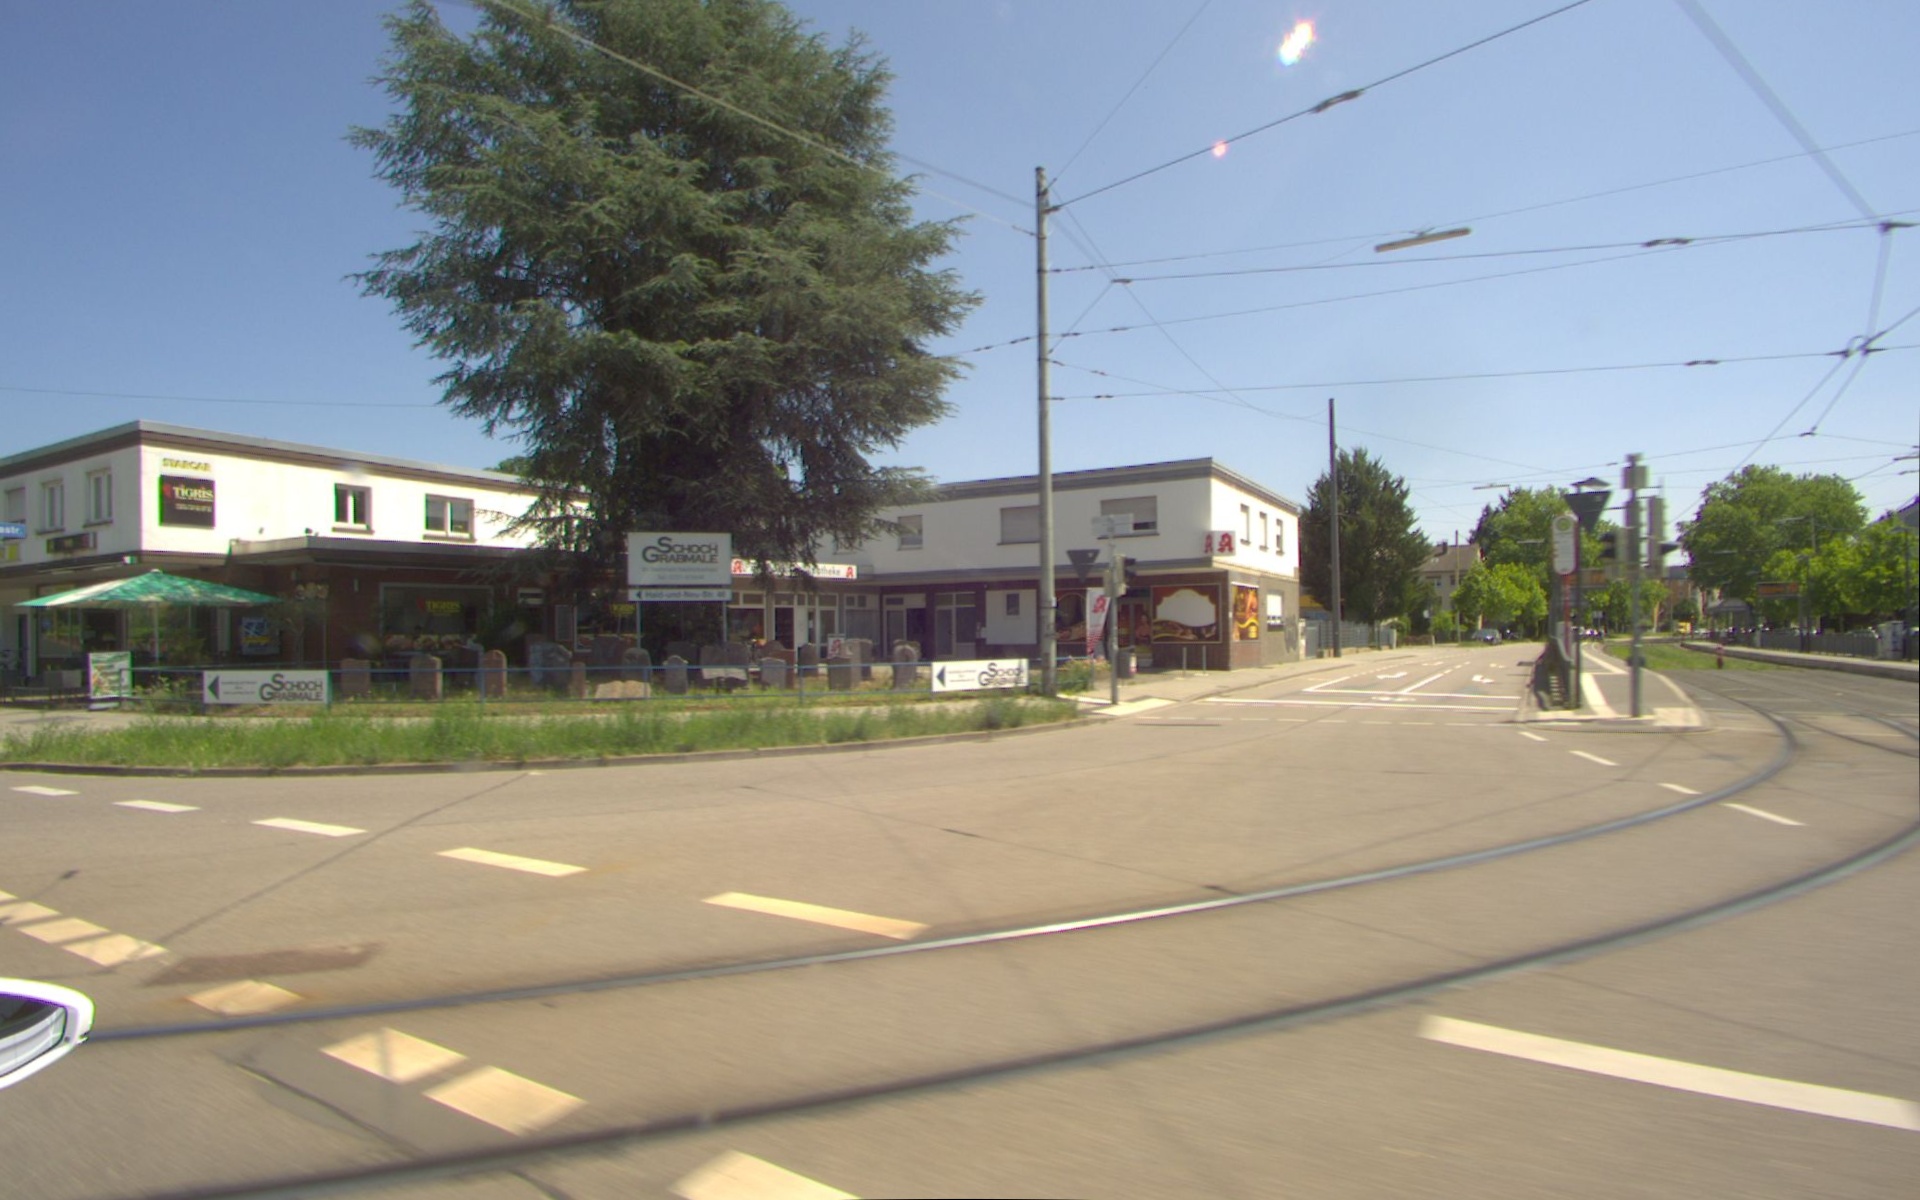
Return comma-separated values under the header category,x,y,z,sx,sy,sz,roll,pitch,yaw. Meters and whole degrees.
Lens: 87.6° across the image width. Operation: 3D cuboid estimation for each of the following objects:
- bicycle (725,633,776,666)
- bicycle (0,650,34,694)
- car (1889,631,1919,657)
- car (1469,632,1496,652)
category,x,y,z,sx,sy,sz,roll,pitch,yaw
bicycle,-7.702,1.832,36.841,0.592,1.206,1.862,-3,-4,42
bicycle,-27.305,2.025,28.523,2.605,1.178,0.985,-2,-2,38
car,50.543,2.307,52.928,1.431,1.371,3.347,-1,-2,32
car,46.909,3.771,89.886,1.968,1.683,3.988,-2,-2,26
